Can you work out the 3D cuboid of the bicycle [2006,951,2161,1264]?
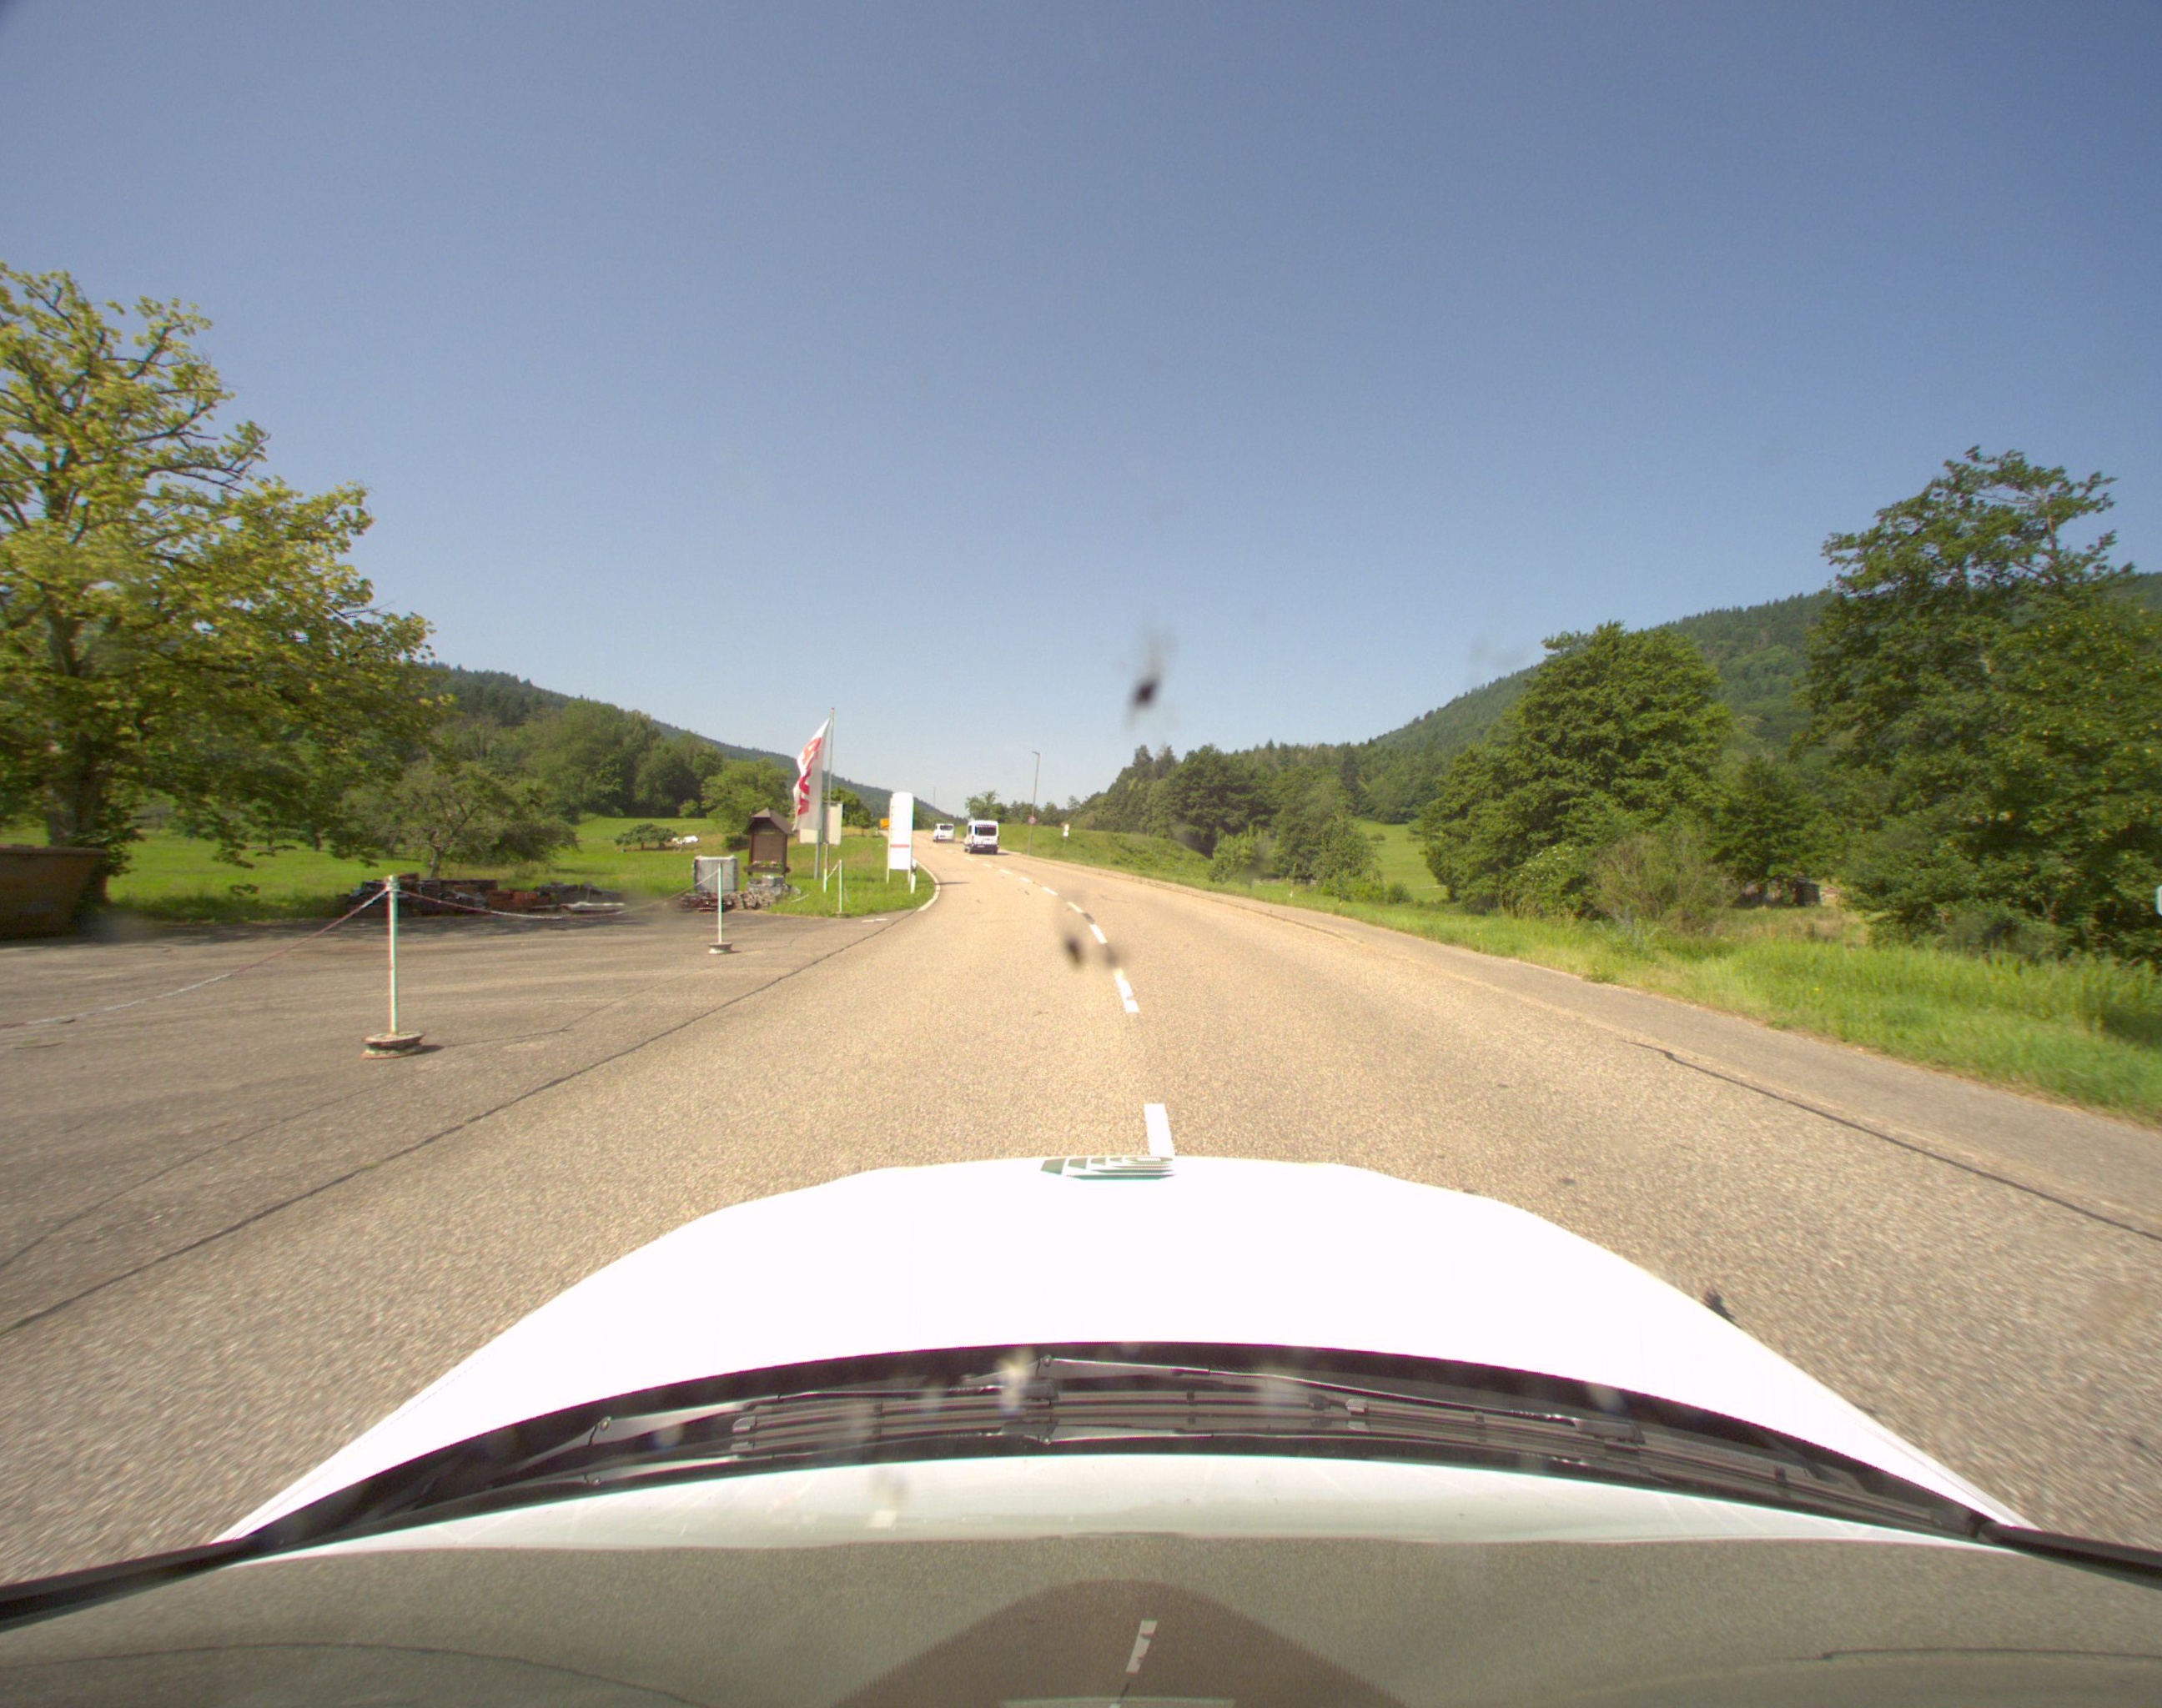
[{"bbox_3d":[4.080,0.920,2.336,0.577,1.035,1.991,-2,0,1],"label":"bicycle"}]

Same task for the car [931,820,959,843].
[{"bbox_3d":[-14.443,-2.359,86.380,2.229,2.286,4.954,-1,1,-18],"label":"car"}]

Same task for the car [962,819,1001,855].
[{"bbox_3d":[-7.496,-1.223,60.731,2.226,2.525,4.960,-1,1,-14],"label":"car"}]

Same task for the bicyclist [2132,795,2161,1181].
[{"bbox_3d":[4.019,0.457,2.304,0.577,1.342,1.145,-2,0,0],"label":"bicyclist"}]
